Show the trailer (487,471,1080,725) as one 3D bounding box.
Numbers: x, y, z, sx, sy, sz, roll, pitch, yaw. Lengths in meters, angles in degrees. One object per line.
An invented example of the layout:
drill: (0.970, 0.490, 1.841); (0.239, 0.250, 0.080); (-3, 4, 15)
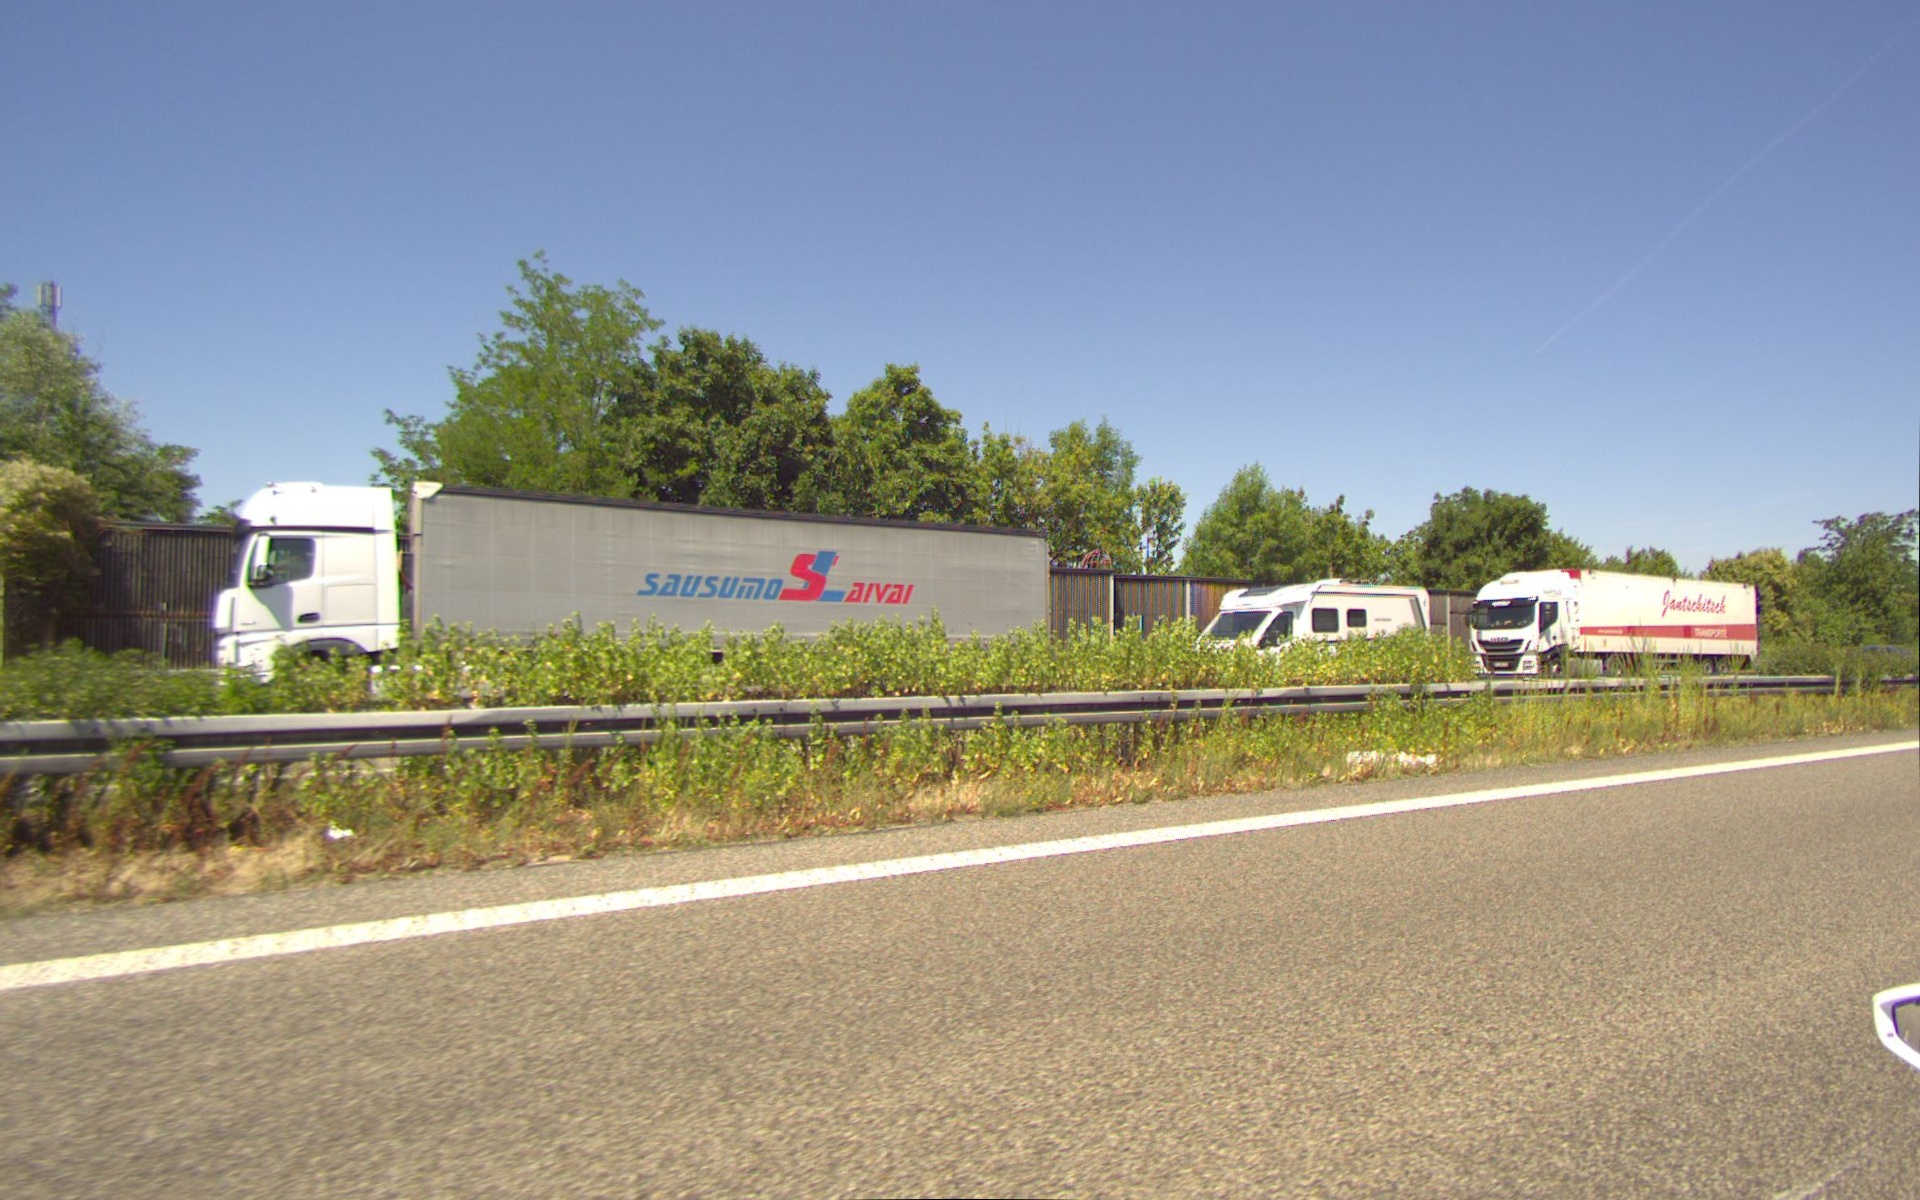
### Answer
trailer: (-3.404, 0.139, 22.546); (12.800, 4.537, 3.151); (2, -1, -30)

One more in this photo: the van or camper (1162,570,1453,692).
van or camper: (8.512, 0.761, 24.275); (7.324, 2.611, 2.454); (2, -1, -30)

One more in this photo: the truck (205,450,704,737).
truck: (-9.202, 0.010, 19.112); (7.778, 4.498, 3.202); (2, -1, -30)

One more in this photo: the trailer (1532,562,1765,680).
trailer: (27.818, 0.884, 40.275); (12.077, 4.229, 2.829); (1, 0, -30)

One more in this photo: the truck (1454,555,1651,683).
truck: (21.693, 0.725, 36.665); (7.623, 4.263, 2.829); (1, 0, -30)
